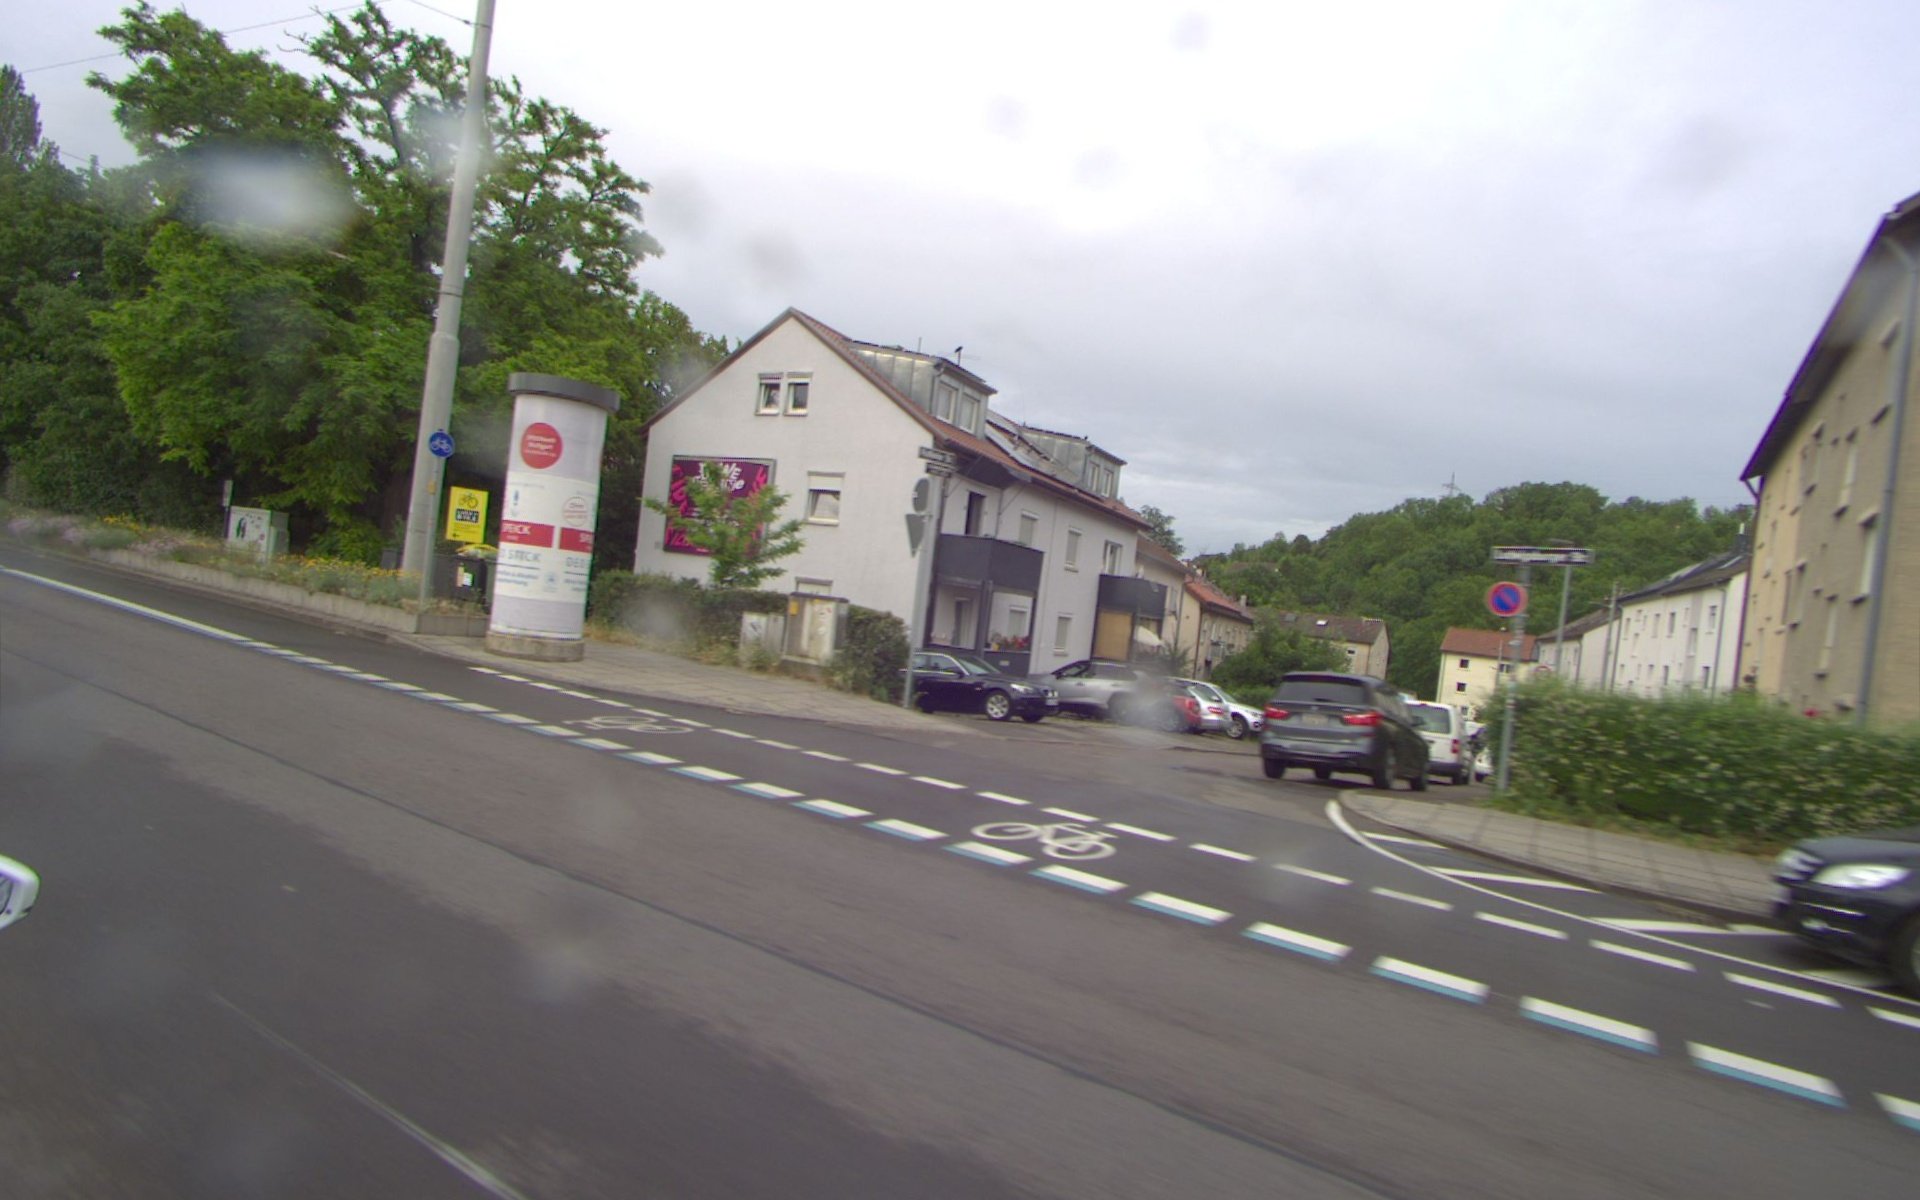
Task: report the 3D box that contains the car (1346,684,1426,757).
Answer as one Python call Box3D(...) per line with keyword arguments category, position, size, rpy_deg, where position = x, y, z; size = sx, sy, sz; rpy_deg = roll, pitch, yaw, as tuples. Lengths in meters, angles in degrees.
Box3D(category="car", position=(18.229, 5.113, 42.922), size=(2.104, 2.637, 5.263), rpy_deg=(7, -2, 32))

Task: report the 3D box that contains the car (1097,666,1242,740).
Box3D(category="car", position=(6.560, 3.196, 31.558), size=(3.931, 1.556, 1.757), rpy_deg=(9, 0, 29))

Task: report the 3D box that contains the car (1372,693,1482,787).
Box3D(category="car", position=(11.262, 3.347, 24.090), size=(1.848, 1.814, 4.286), rpy_deg=(6, -4, 31))

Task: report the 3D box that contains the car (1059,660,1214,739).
Box3D(category="car", position=(5.147, 2.876, 29.440), size=(3.931, 1.556, 1.757), rpy_deg=(9, 0, 29))

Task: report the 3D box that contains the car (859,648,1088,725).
Box3D(category="car", position=(0.242, 1.829, 21.676), size=(4.653, 1.406, 1.755), rpy_deg=(0, -5, 32))

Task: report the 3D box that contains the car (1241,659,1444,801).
Box3D(category="car", position=(6.033, 2.022, 15.532), size=(1.850, 1.673, 4.282), rpy_deg=(5, -4, 35))

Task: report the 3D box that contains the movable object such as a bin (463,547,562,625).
Box3D(category="movable object such as a bin", position=(-9.599, -0.286, 21.619), size=(1.278, 1.434, 1.314), rpy_deg=(6, -2, 29))

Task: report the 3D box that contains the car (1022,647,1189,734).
Box3D(category="car", position=(3.910, 2.399, 27.116), size=(3.931, 1.622, 1.757), rpy_deg=(8, 0, 29))

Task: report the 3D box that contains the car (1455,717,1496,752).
Box3D(category="car", position=(31.769, 8.264, 62.114), size=(1.800, 1.703, 4.242), rpy_deg=(7, -2, 23))

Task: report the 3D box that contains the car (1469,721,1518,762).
Box3D(category="car", position=(28.324, 7.465, 53.518), size=(1.800, 1.703, 4.242), rpy_deg=(7, -2, 23))

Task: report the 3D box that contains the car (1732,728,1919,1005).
Box3D(category="car", position=(7.637, 1.927, 6.090), size=(4.365, 1.551, 1.840), rpy_deg=(7, -2, 31))

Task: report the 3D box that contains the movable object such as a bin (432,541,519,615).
Box3D(category="movable object such as a bin", position=(-10.722, -0.484, 22.281), size=(1.115, 1.434, 1.187), rpy_deg=(6, -2, 29))

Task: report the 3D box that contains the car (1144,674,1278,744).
Box3D(category="car", position=(8.473, 3.640, 34.025), size=(3.931, 1.602, 1.757), rpy_deg=(9, 0, 29))
